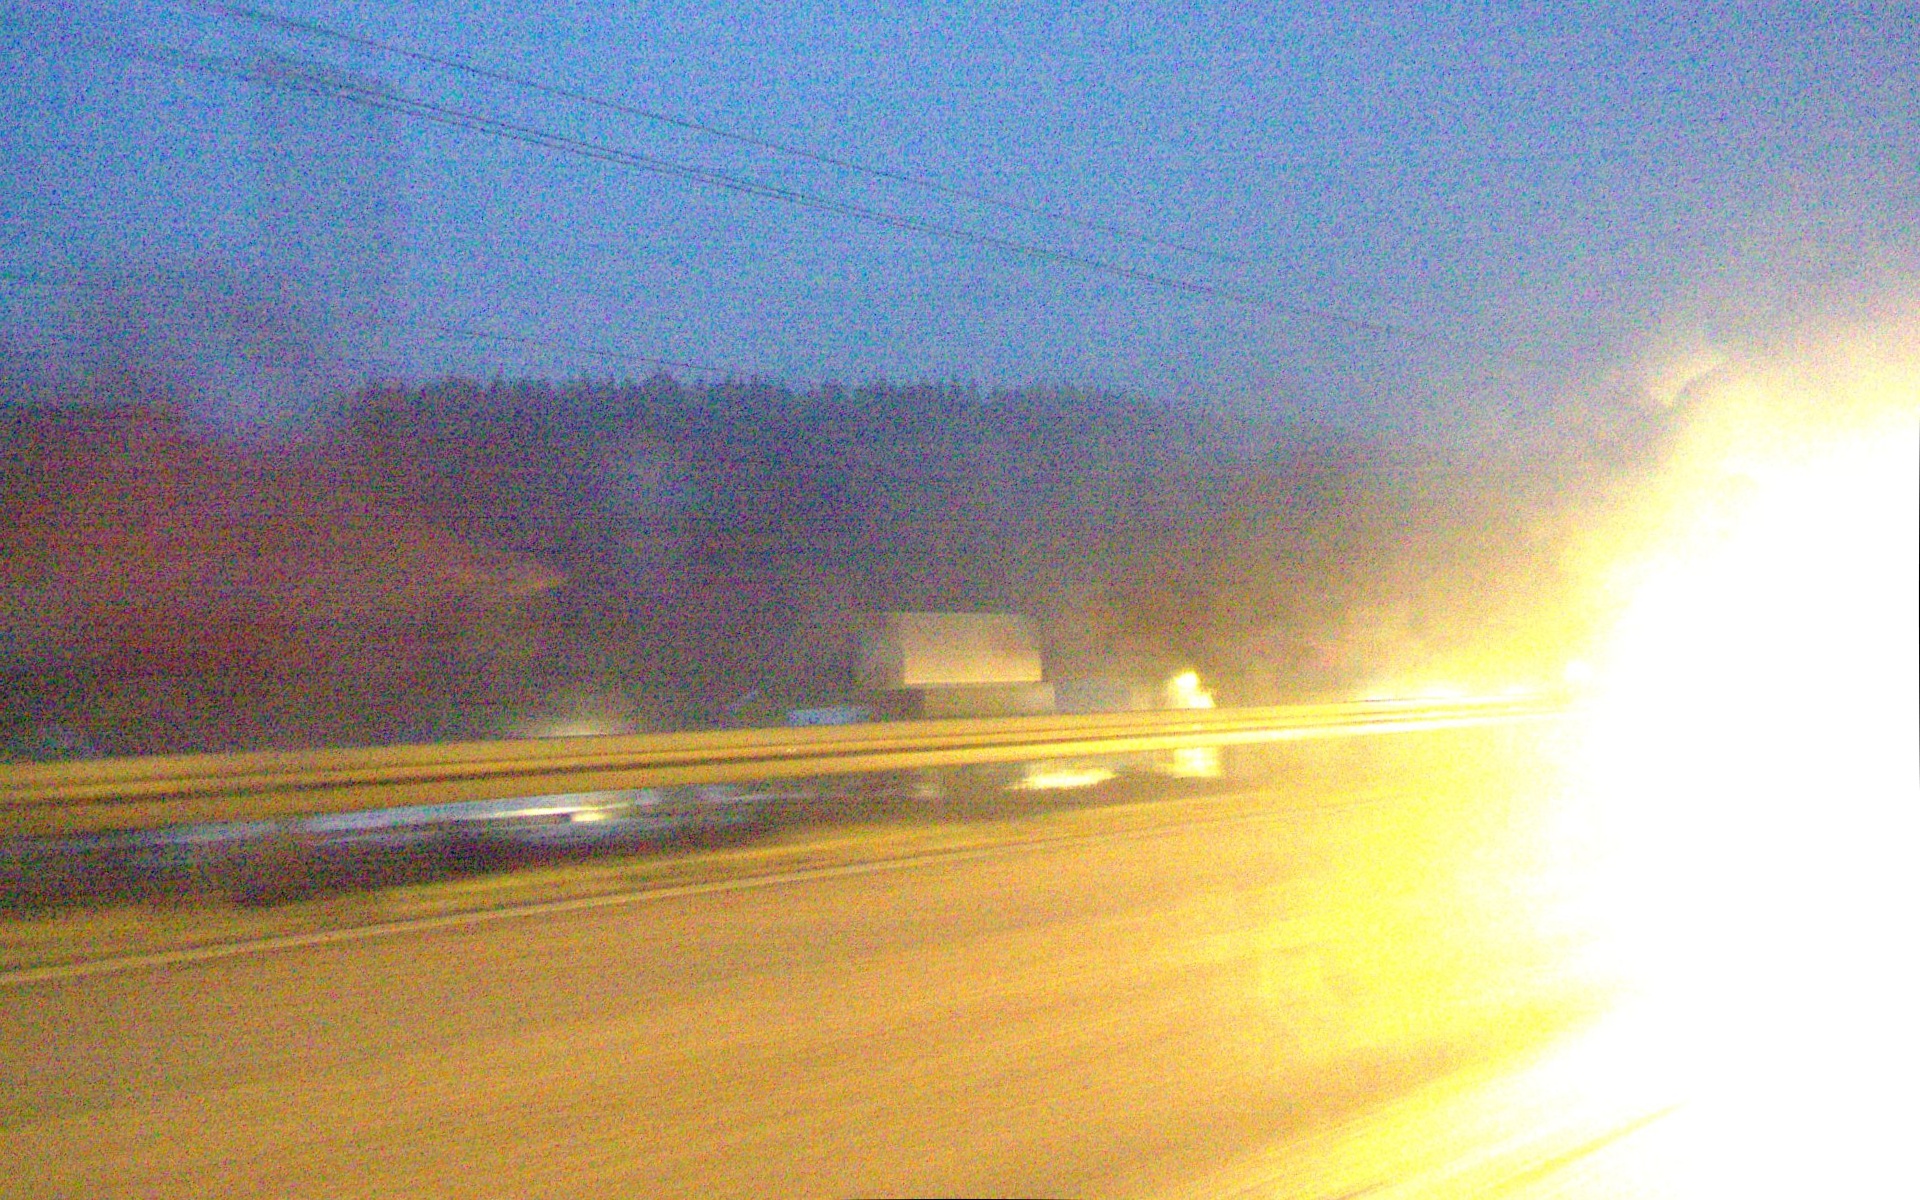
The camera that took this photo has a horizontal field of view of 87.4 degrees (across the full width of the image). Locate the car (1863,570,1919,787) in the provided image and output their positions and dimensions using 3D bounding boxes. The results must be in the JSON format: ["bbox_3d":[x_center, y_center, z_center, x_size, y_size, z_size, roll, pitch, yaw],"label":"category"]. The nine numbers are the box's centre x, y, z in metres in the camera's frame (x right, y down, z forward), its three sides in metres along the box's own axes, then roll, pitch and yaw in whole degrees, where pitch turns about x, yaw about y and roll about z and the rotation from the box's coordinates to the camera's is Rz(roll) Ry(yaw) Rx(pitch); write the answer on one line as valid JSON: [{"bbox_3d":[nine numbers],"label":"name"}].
[{"bbox_3d":[10.311,0.715,9.390,3.955,1.893,1.748,1,-1,-32],"label":"car"}]
